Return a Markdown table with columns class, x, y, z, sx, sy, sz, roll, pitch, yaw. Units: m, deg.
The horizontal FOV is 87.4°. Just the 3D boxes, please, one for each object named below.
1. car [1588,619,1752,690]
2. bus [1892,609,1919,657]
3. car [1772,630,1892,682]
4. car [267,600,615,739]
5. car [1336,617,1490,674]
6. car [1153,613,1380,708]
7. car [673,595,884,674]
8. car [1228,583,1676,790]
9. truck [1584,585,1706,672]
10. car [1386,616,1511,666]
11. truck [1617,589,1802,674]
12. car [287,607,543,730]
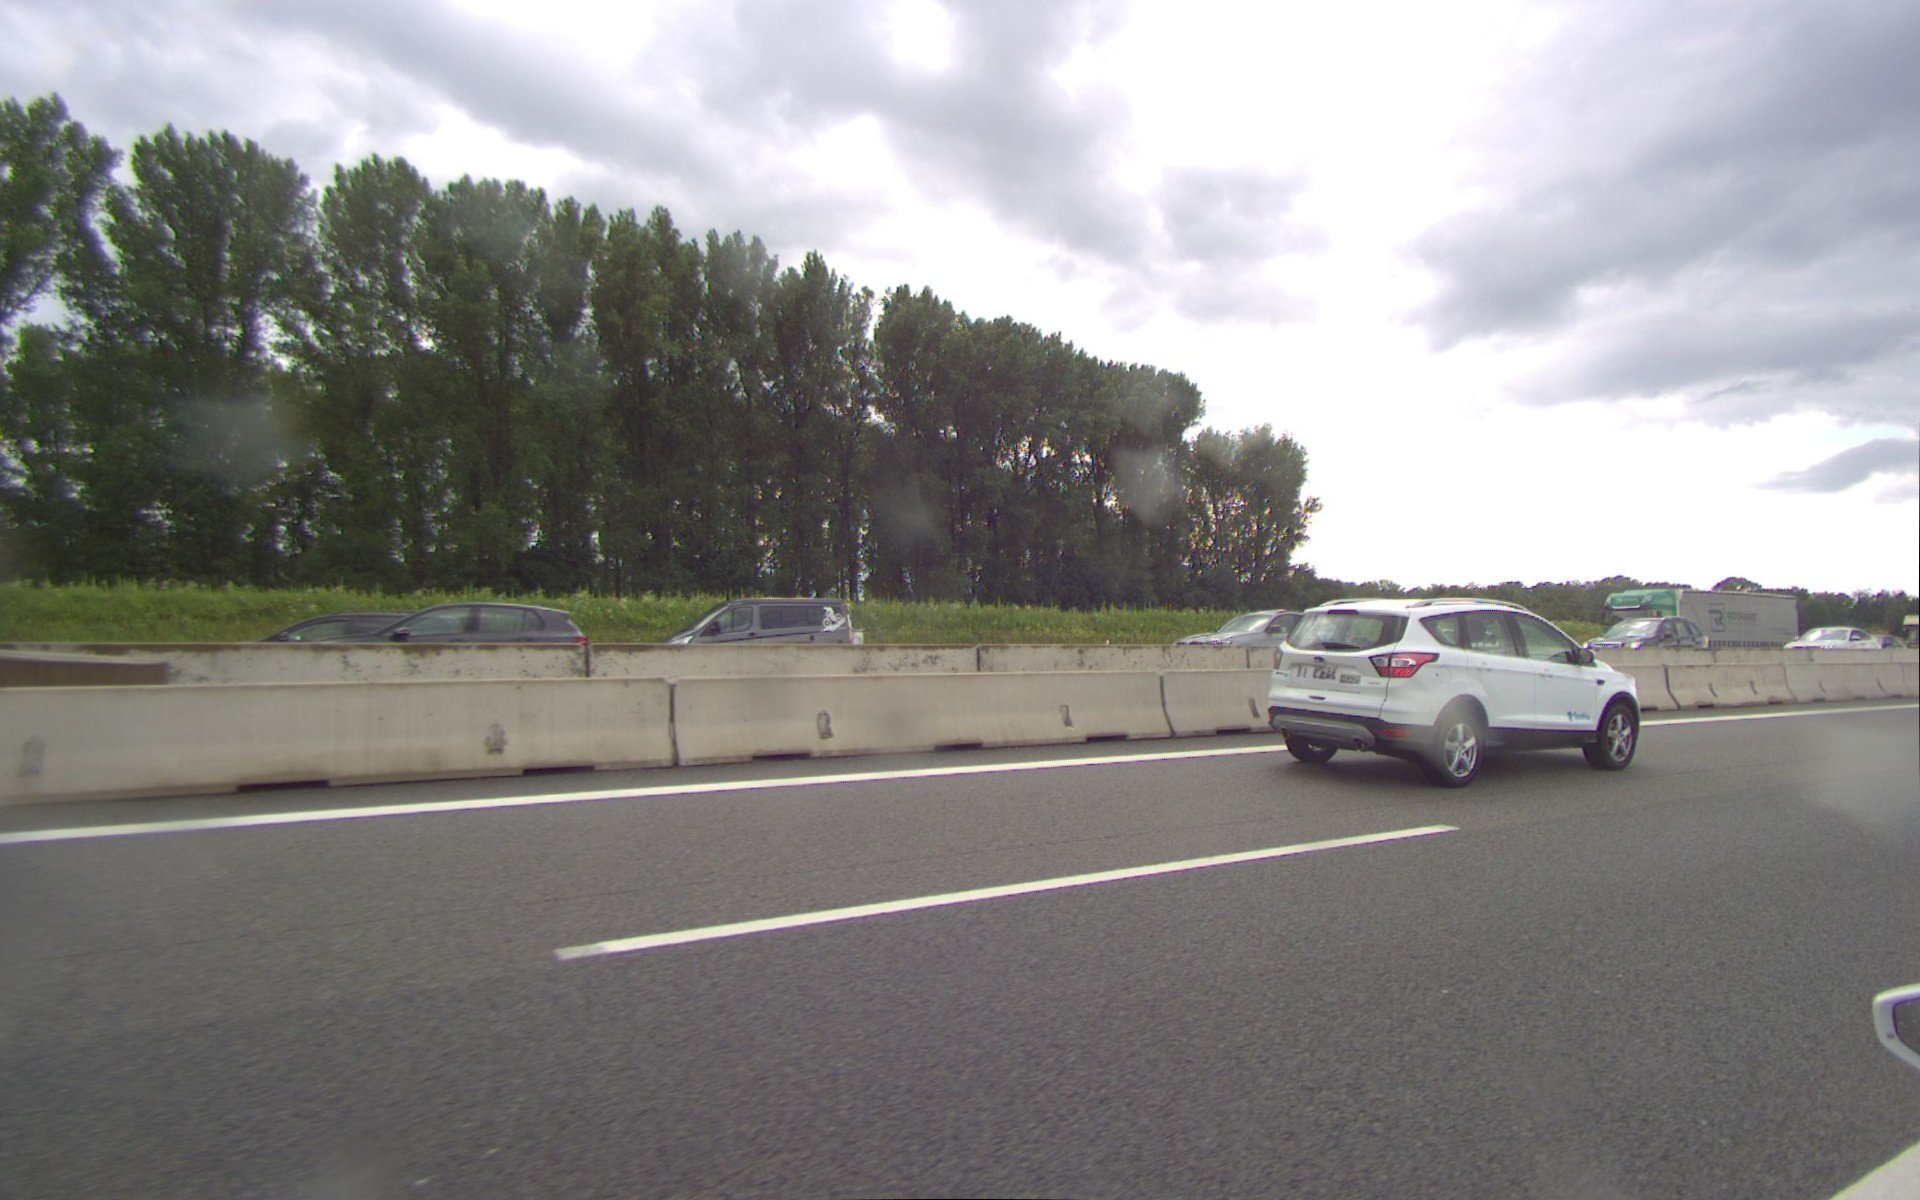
| class | x | y | z | sx | sy | sz | roll | pitch | yaw |
| --- | --- | --- | --- | --- | --- | --- | --- | --- | --- |
| car | 21.051 | 1.564 | 29.741 | 5.124 | 1.923 | 1.984 | 2 | -1 | -30 |
| bus | 72.455 | 2.476 | 73.840 | 9.840 | 3.377 | 2.820 | 2 | -1 | -29 |
| car | 33.938 | 2.136 | 39.052 | 5.016 | 1.877 | 1.985 | 1 | -1 | -29 |
| car | -7.630 | 0.967 | 15.055 | 4.379 | 1.817 | 1.696 | 2 | -1 | -31 |
| car | 14.700 | 1.440 | 32.504 | 5.016 | 1.726 | 1.985 | 1 | -1 | -29 |
| car | 6.970 | 1.308 | 22.660 | 5.126 | 1.910 | 1.984 | 2 | -1 | -31 |
| car | -4.482 | 0.866 | 25.169 | 4.913 | 1.817 | 1.696 | 2 | -1 | -31 |
| car | 5.149 | 0.769 | 10.319 | 4.795 | 1.712 | 1.807 | 1 | -1 | -30 |
| truck | 36.101 | 1.527 | 52.938 | 5.839 | 4.338 | 3.105 | 1 | -1 | -29 |
| car | 19.379 | 1.600 | 39.799 | 5.016 | 1.877 | 1.985 | 1 | -1 | -29 |
| truck | 42.394 | 1.782 | 56.565 | 13.784 | 4.370 | 3.134 | 2 | -1 | -30 |
| car | -10.011 | 1.190 | 18.631 | 3.954 | 2.040 | 1.983 | 2 | -1 | -31 |
